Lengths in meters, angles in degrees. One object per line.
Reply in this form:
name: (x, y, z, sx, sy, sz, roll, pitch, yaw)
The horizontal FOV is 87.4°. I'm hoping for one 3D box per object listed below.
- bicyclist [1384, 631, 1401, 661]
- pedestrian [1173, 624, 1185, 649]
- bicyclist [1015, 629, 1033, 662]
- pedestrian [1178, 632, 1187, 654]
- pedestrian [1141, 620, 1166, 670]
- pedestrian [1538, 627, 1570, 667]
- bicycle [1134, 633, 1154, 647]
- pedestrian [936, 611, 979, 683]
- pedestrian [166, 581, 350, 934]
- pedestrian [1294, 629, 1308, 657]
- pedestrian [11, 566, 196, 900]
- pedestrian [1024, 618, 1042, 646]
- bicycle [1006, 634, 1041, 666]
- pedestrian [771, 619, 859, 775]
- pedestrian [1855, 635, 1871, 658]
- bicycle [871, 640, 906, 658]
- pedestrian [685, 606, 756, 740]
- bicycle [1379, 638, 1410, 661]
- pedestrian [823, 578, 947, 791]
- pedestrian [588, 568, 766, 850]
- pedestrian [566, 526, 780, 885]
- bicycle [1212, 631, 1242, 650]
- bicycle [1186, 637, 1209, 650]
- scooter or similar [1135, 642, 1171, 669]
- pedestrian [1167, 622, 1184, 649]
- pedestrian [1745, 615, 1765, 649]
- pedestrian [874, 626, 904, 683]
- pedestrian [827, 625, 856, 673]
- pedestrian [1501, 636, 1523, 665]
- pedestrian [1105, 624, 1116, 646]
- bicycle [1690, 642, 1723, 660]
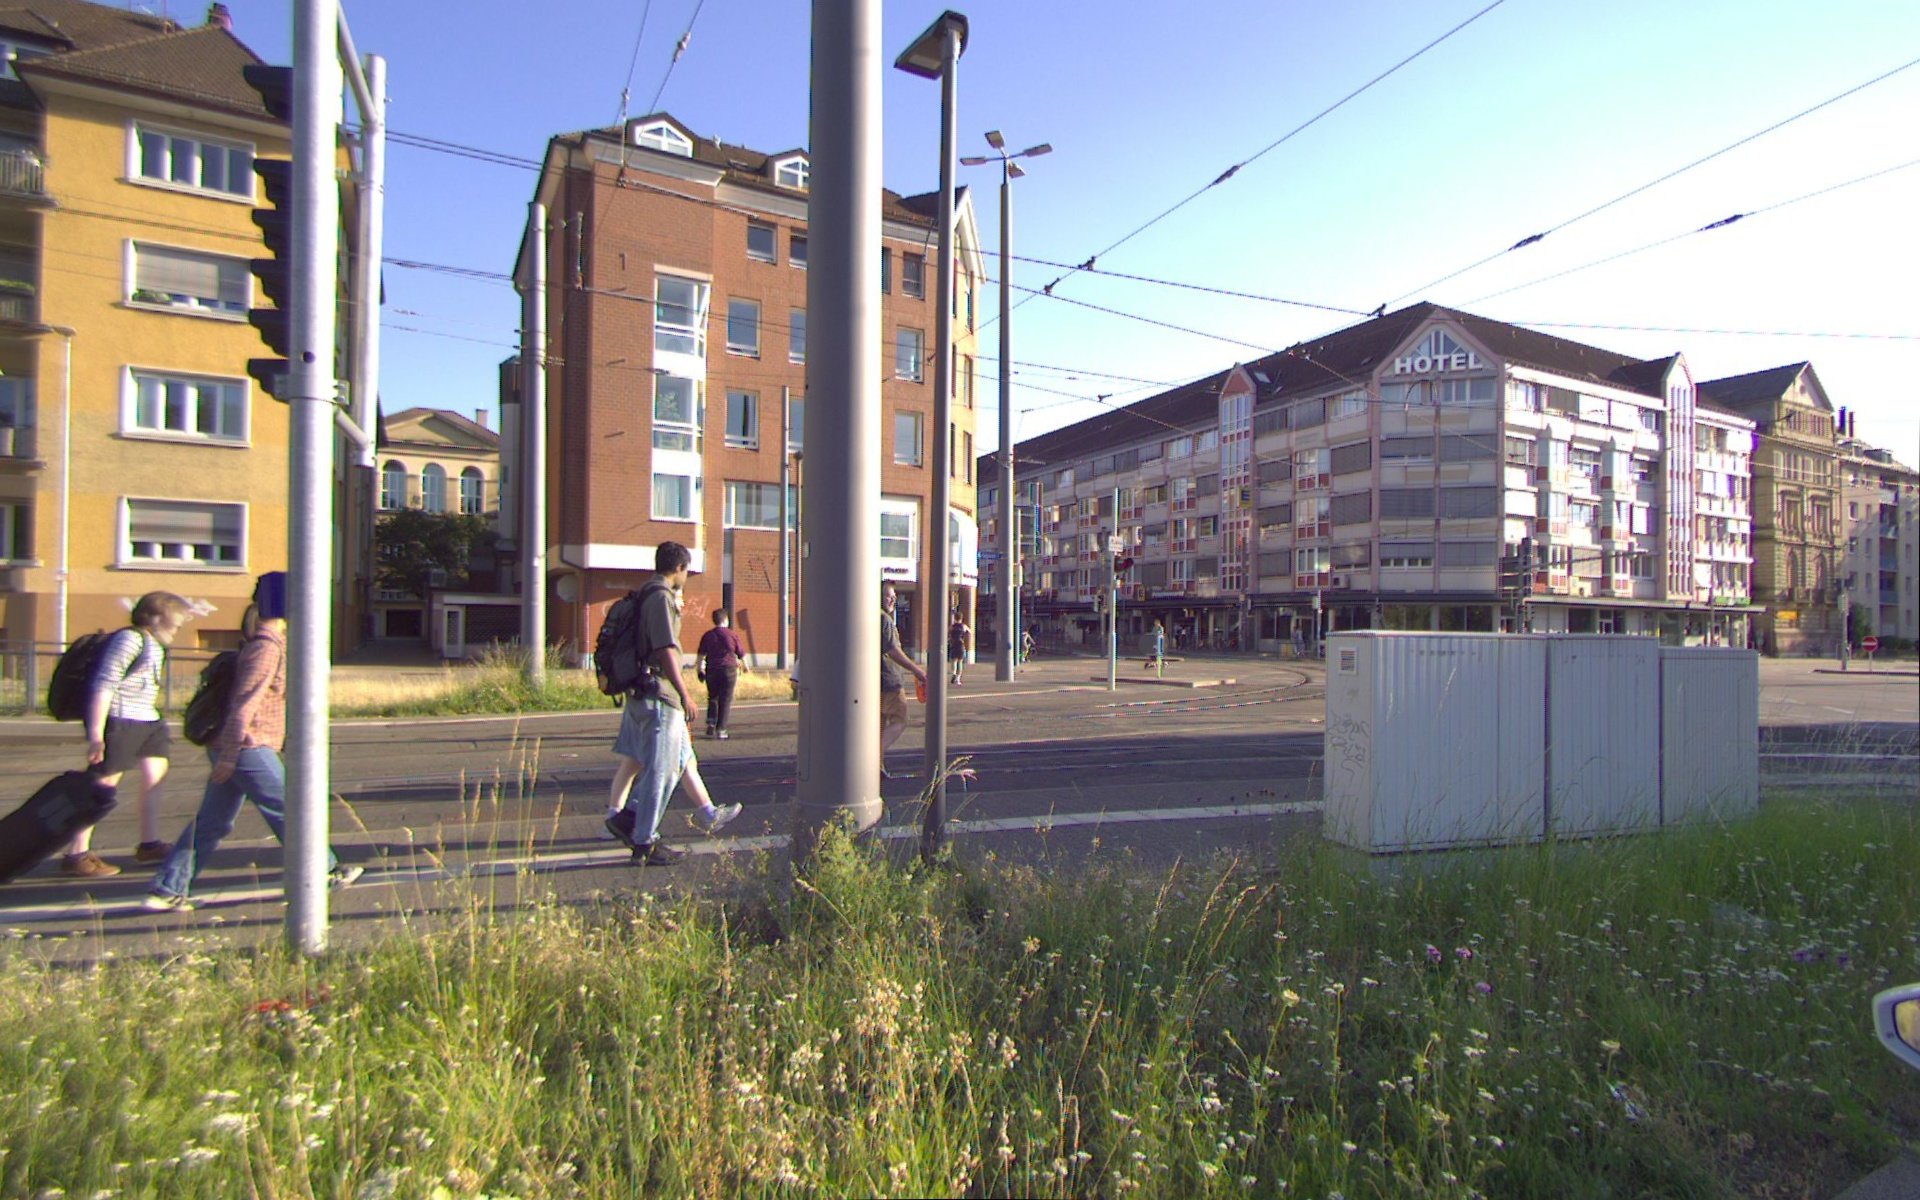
bicyclist: (24.064, 2.537, 55.875, 0.649, 1.618, 0.636, -1, 1, -26)
pedestrian: (16.658, 2.755, 76.419, 0.601, 1.877, 0.601, 2, 0, -20)
bicyclist: (2.986, 2.096, 46.789, 0.557, 1.501, 0.735, 0, 1, 38)
pedestrian: (16.643, 3.223, 74.990, 0.598, 1.656, 0.604, 1, -4, 16)
pedestrian: (7.466, 1.739, 38.731, 0.713, 1.872, 0.559, 2, 0, -23)
pedestrian: (31.313, 2.473, 52.946, 0.847, 1.909, 1.187, -8, 6, -33)
bicycle: (14.636, 3.186, 79.839, 1.630, 1.134, 0.480, 2, 0, -30)
pedestrian: (-0.057, 1.183, 25.656, 0.824, 1.781, 0.687, 2, 0, -44)
pedestrian: (-3.385, 0.698, 4.910, 0.612, 1.556, 0.782, 2, 0, -28)
pedestrian: (20.943, 2.643, 61.677, 0.612, 1.717, 0.866, 2, 0, 29)
pedestrian: (-4.636, 0.667, 5.492, 0.612, 1.662, 0.781, 2, -1, -32)
pedestrian: (4.404, 1.938, 60.468, 0.773, 1.682, 0.677, 2, 0, -35)
bicycle: (2.959, 2.321, 46.755, 0.575, 1.385, 2.086, 0, 1, 38)
pedestrian: (-1.332, 0.870, 9.281, 0.584, 1.378, 0.608, 0, -1, 16)
pedestrian: (69.272, 3.557, 77.090, 0.715, 1.717, 0.692, 2, 0, -30)
bicycle: (-3.911, 2.669, 55.020, 1.813, 0.974, 0.540, 1, 1, -27)
pedestrian: (-3.010, 0.899, 12.585, 0.776, 1.609, 0.605, 2, 0, -19)
bicycle: (24.192, 2.764, 55.948, 1.746, 1.160, 0.636, -1, 1, -27)
pedestrian: (-0.657, 0.718, 9.018, 0.761, 1.781, 0.900, 2, 0, 20)
pedestrian: (-1.835, 0.649, 6.478, 0.890, 1.662, 0.781, 2, 0, -32)
pedestrian: (-1.631, 0.562, 5.672, 0.889, 1.824, 0.782, 5, -1, -29)
bicycle: (18.463, 2.809, 69.584, 0.720, 1.243, 2.319, 2, -2, -24)
bicycle: (17.095, 3.120, 72.268, 0.494, 0.929, 2.066, 2, -2, -24)
scooter or similar: (7.438, 2.135, 38.761, 1.311, 1.019, 0.484, 2, 0, -23)
pedestrian: (13.334, 2.194, 62.198, 0.773, 1.682, 0.677, 2, 0, -35)
pedestrian: (57.829, 2.313, 73.074, 0.953, 2.430, 0.918, 2, 0, -40)
pedestrian: (-2.052, 1.572, 29.133, 0.825, 1.605, 0.683, 2, 0, -3)
pedestrian: (-4.067, 1.691, 34.430, 0.829, 1.605, 0.680, 2, 0, -21)
pedestrian: (29.059, 2.636, 52.888, 0.847, 1.472, 0.700, 2, 0, -34)
pedestrian: (12.549, 2.890, 83.870, 0.804, 1.802, 0.680, 2, 0, 0)
bicycle: (48.494, 3.297, 65.270, 2.056, 1.085, 0.451, 2, 0, -13)
